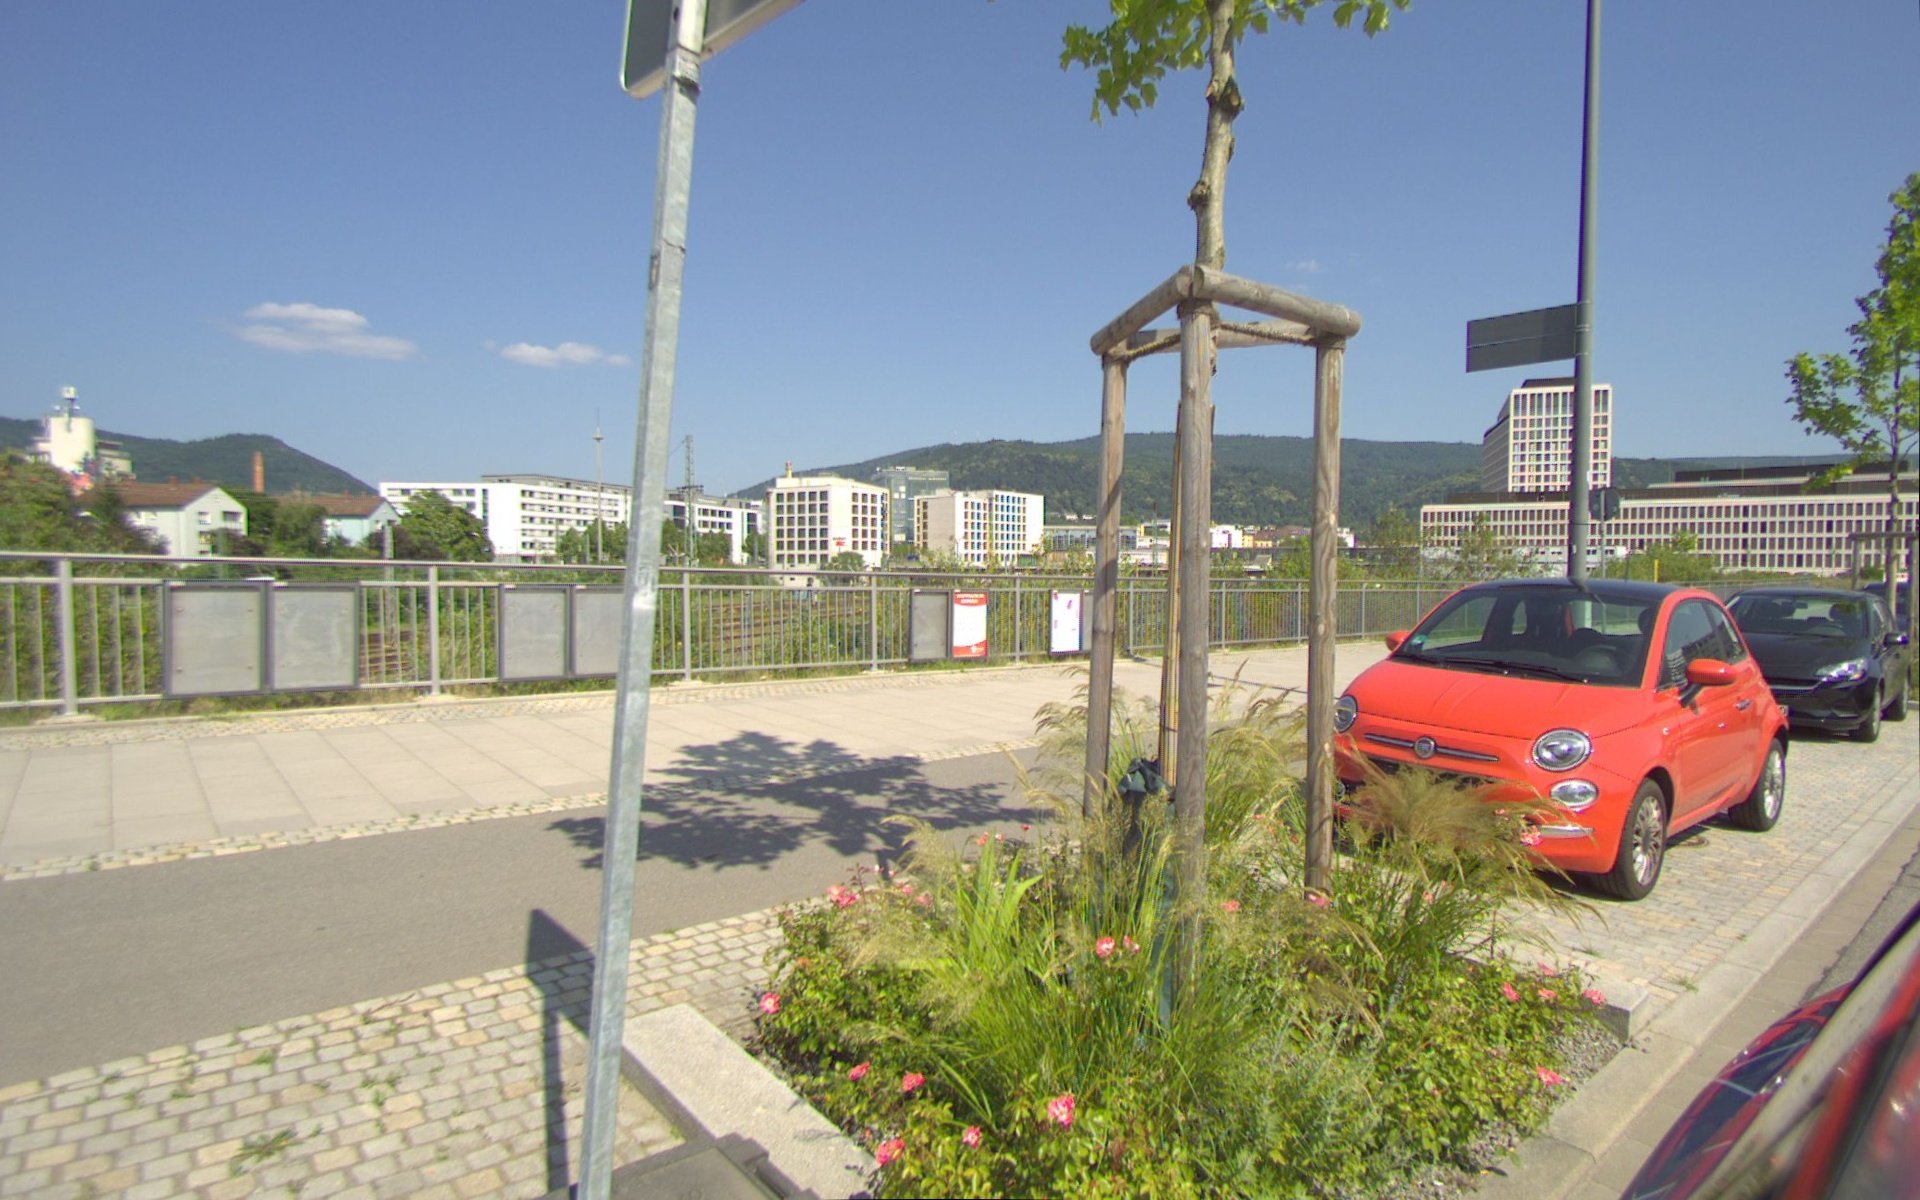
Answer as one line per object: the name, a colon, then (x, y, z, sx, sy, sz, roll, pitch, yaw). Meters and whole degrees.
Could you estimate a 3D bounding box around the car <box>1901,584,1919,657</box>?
car: (21.619, 0.395, 21.687, 3.929, 1.473, 1.663, -1, 1, -40)

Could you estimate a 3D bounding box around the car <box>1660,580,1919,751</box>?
car: (9.477, 0.574, 11.169, 3.926, 1.443, 1.666, -1, 5, -37)

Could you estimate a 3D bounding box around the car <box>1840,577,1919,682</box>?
car: (16.545, 0.431, 17.209, 4.163, 1.627, 1.768, -1, 1, -40)

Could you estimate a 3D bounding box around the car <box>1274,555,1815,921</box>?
car: (3.526, 0.547, 5.931, 3.291, 1.515, 1.615, 0, 3, -39)
